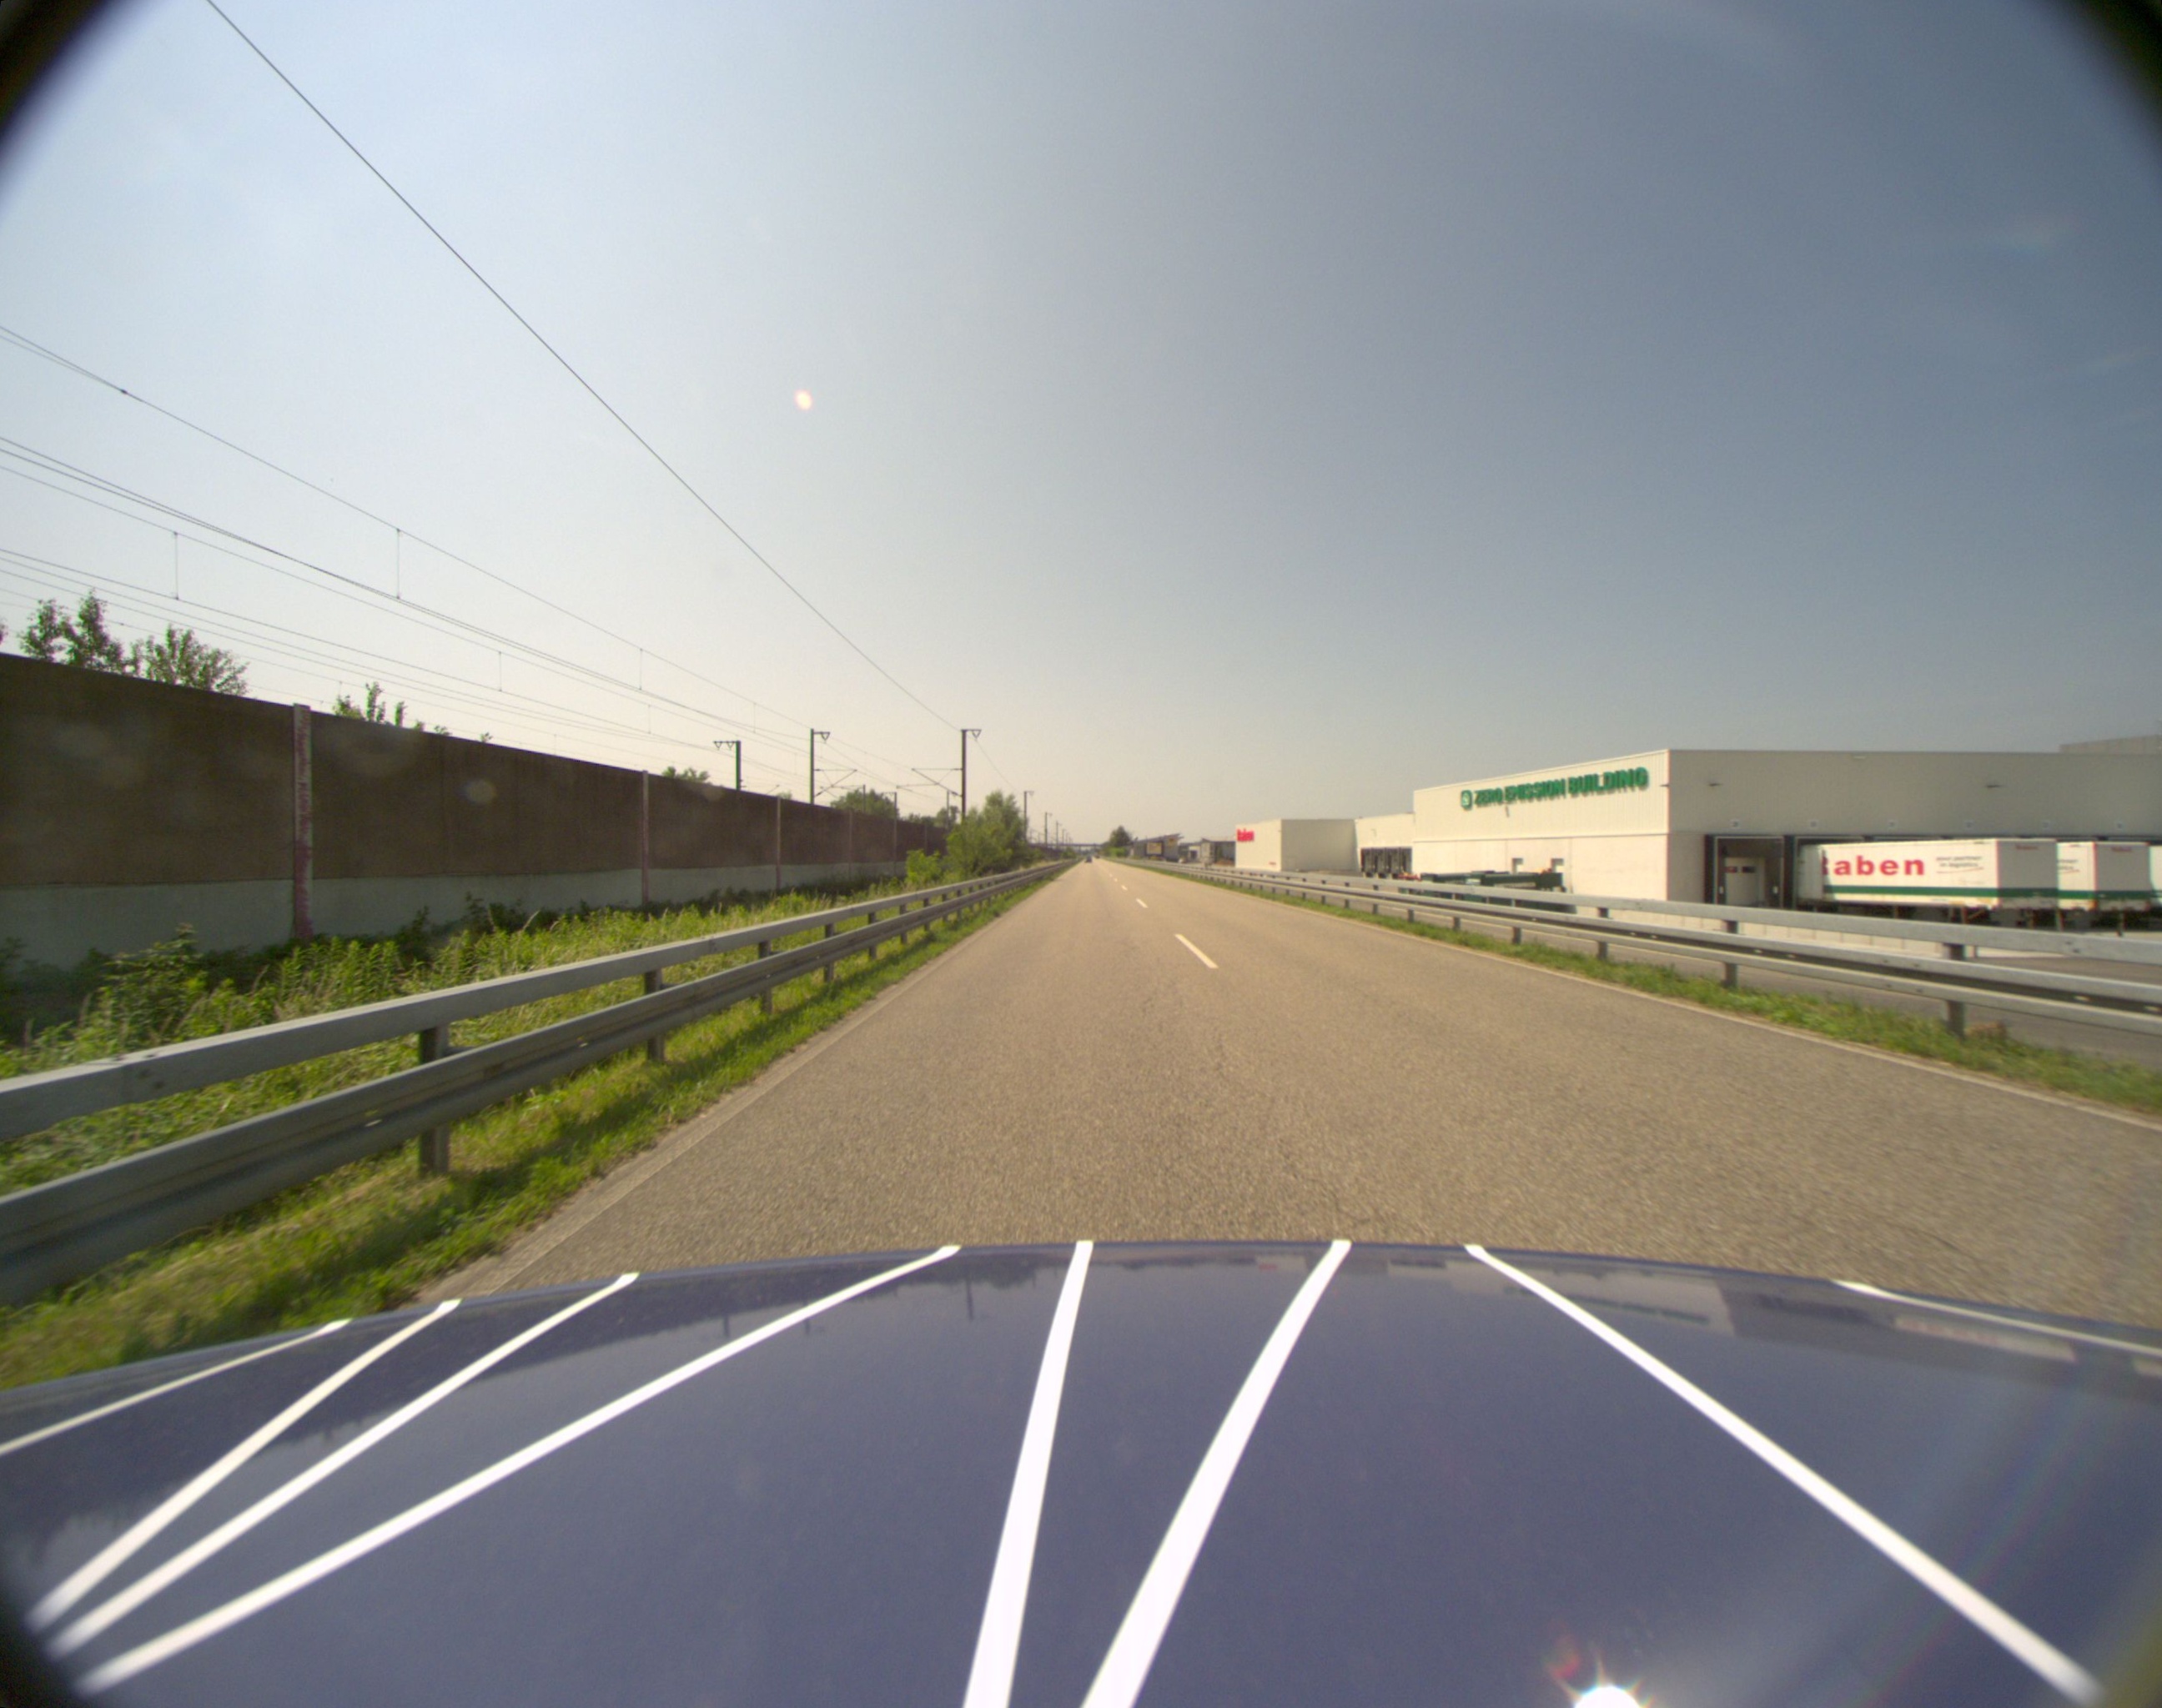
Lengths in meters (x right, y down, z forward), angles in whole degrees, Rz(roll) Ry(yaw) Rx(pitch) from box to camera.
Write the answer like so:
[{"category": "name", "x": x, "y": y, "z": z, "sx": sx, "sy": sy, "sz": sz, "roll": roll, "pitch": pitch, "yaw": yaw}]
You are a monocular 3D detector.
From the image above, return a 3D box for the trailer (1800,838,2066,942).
[{"category": "trailer", "x": 36.231, "y": 1.300, "z": 32.904, "sx": 2.670, "sy": 3.965, "sz": 7.576, "roll": -1, "pitch": 1, "yaw": -4}]

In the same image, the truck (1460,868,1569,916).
[{"category": "truck", "x": 25.163, "y": 2.148, "z": 44.250, "sx": 5.058, "sy": 2.523, "sz": 2.272, "roll": -1, "pitch": 1, "yaw": -2}]

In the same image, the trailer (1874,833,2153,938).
[{"category": "trailer", "x": 40.136, "y": 1.219, "z": 33.256, "sx": 2.670, "sy": 4.068, "sz": 7.579, "roll": 0, "pitch": 0, "yaw": -3}]

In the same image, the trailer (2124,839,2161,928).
[{"category": "trailer", "x": 52.196, "y": 1.311, "z": 30.134, "sx": 2.670, "sy": 4.179, "sz": 13.385, "roll": -1, "pitch": -1, "yaw": -4}]

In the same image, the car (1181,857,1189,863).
[{"category": "car", "x": 29.058, "y": 1.595, "z": 213.172, "sx": 1.555, "sy": 1.664, "sz": 3.311, "roll": 0, "pitch": 0, "yaw": -4}]

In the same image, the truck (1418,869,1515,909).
[{"category": "truck", "x": 24.413, "y": 2.187, "z": 48.303, "sx": 5.021, "sy": 2.320, "sz": 2.233, "roll": -1, "pitch": 0, "yaw": 1}]
